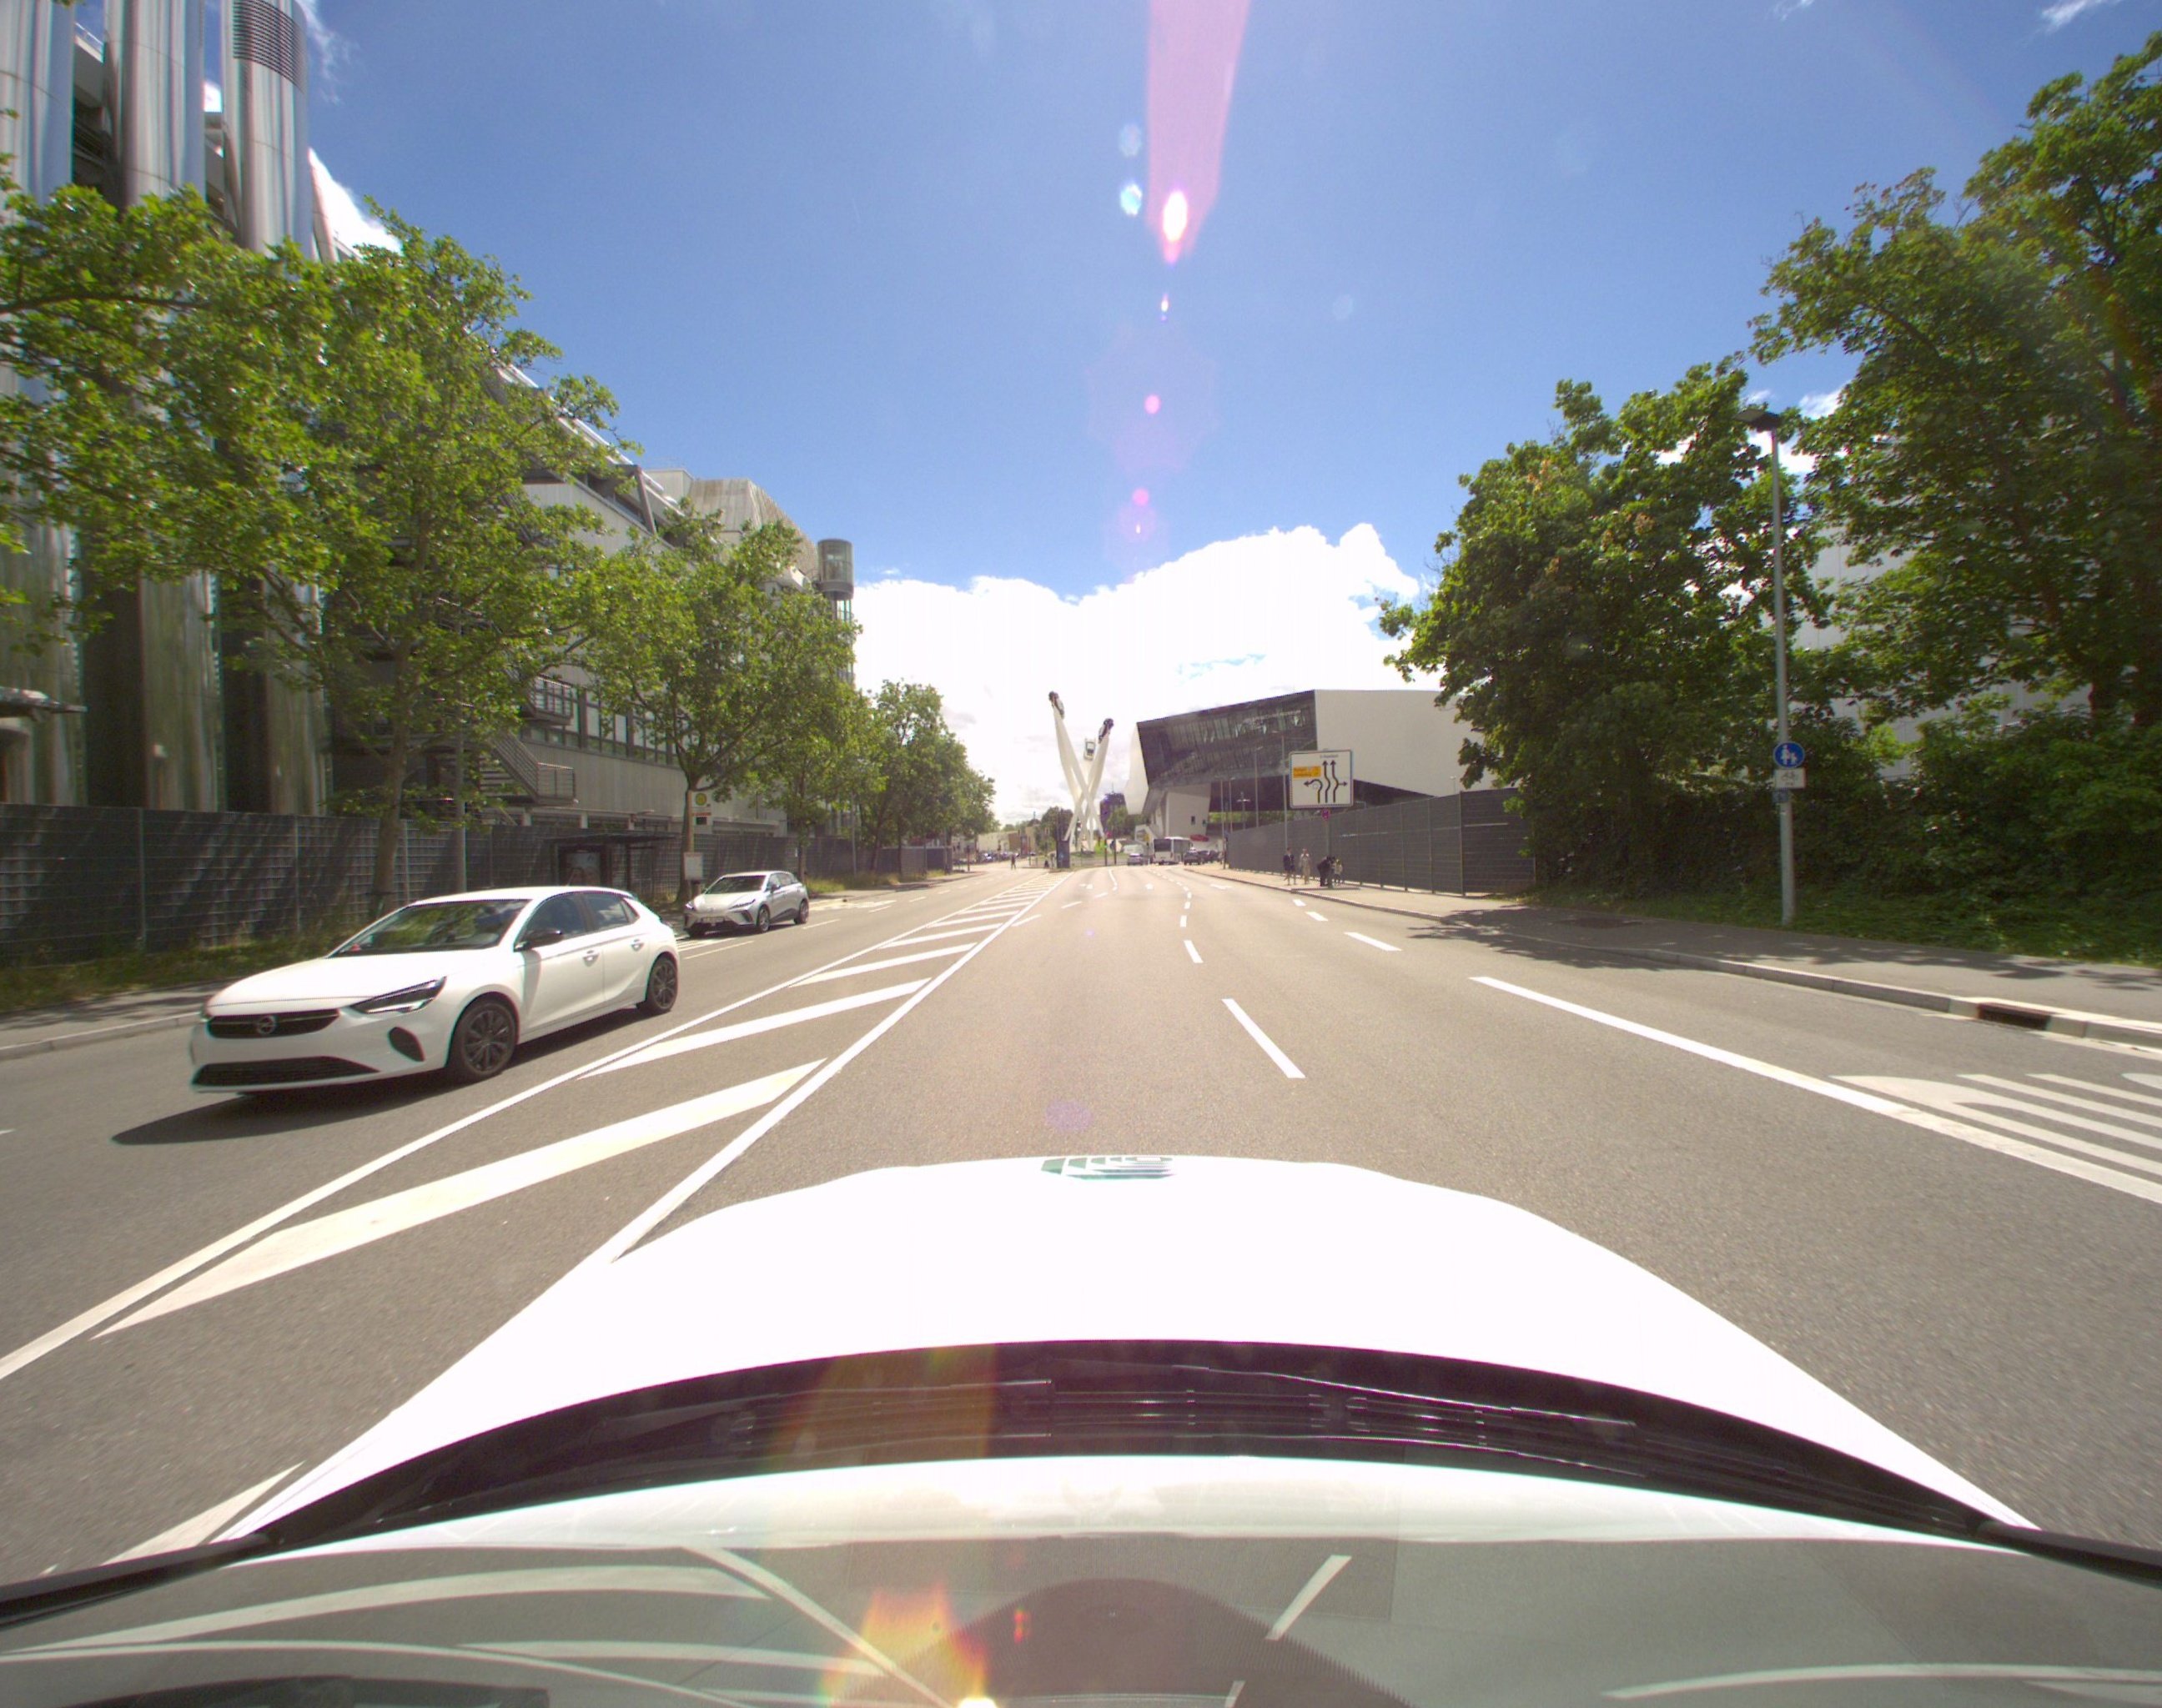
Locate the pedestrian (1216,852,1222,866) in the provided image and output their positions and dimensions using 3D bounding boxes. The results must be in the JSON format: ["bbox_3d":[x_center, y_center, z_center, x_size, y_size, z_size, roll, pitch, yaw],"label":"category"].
[{"bbox_3d":[15.955,0.571,93.936,0.655,1.608,0.825,-1,-1,12],"label":"pedestrian"}]

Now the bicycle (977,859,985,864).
[{"bbox_3d":[-19.519,1.449,158.365,1.590,0.866,0.496,-1,-1,35],"label":"bicycle"}]

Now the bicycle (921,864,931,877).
[{"bbox_3d":[-12.741,1.354,67.023,0.294,1.006,1.256,-1,-1,12],"label":"bicycle"}]

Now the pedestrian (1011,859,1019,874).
[{"bbox_3d":[-7.833,1.436,96.631,0.864,1.774,1.031,0,-1,-12],"label":"pedestrian"}]

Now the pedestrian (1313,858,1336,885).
[{"bbox_3d":[10.415,0.741,34.899,0.754,1.149,0.973,0,-1,4],"label":"pedestrian"}]

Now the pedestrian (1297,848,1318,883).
[{"bbox_3d":[10.472,0.527,37.664,0.792,1.597,0.732,0,-1,1],"label":"pedestrian"}]

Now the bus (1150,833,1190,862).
[{"bbox_3d":[11.253,-0.666,101.778,3.049,3.362,12.272,-1,-1,15],"label":"bus"}]

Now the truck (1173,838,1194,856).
[{"bbox_3d":[15.340,-0.983,121.253,2.190,2.516,5.156,-1,-1,17],"label":"truck"}]

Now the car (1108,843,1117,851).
[{"bbox_3d":[7.383,-1.644,191.624,1.985,1.635,4.660,0,1,3],"label":"car"}]

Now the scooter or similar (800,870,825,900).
[{"bbox_3d":[-12.090,1.385,36.699,0.520,1.234,1.320,2,0,8],"label":"scooter or similar"}]

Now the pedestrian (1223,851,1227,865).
[{"bbox_3d":[17.062,0.439,96.527,0.462,1.616,0.664,0,-1,4],"label":"pedestrian"}]

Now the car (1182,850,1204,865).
[{"bbox_3d":[13.056,0.348,94.725,1.979,1.636,4.016,-1,1,14],"label":"car"}]

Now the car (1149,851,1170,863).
[{"bbox_3d":[10.729,0.380,111.278,1.977,1.637,4.020,-1,-1,20],"label":"car"}]

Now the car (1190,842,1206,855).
[{"bbox_3d":[18.090,-0.876,125.513,1.979,1.933,4.256,-1,-1,14],"label":"car"}]

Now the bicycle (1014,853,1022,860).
[{"bbox_3d":[-12.860,0.546,166.131,1.600,1.382,0.493,0,-1,0],"label":"bicycle"}]

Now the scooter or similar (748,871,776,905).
[{"bbox_3d":[-12.353,1.318,31.586,0.521,1.234,1.318,2,0,1],"label":"scooter or similar"}]

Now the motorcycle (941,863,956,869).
[{"bbox_3d":[-26.500,2.351,163.371,2.879,1.196,0.925,-1,-1,19],"label":"motorcycle"}]

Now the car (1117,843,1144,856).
[{"bbox_3d":[8.533,-0.711,140.149,2.010,2.171,4.601,0,-1,-40],"label":"car"}]

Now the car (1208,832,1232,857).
[{"bbox_3d":[20.739,-1.335,121.542,3.315,3.504,9.366,-1,-1,10],"label":"car"}]

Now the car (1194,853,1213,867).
[{"bbox_3d":[15.190,0.721,100.910,1.979,1.637,4.015,-1,-1,14],"label":"car"}]

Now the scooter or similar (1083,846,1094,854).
[{"bbox_3d":[1.063,-0.552,114.571,1.394,1.025,0.551,-3,5,4],"label":"scooter or similar"}]

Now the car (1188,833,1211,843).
[{"bbox_3d":[24.482,-3.296,168.134,2.012,1.394,4.460,-6,10,-42],"label":"car"}]

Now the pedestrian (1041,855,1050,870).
[{"bbox_3d":[-4.083,0.991,93.136,0.864,1.774,1.031,0,-1,-12],"label":"pedestrian"}]

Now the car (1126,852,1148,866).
[{"bbox_3d":[6.761,0.645,97.905,1.979,1.637,4.015,-1,-1,14],"label":"car"}]

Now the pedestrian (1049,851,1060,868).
[{"bbox_3d":[-3.120,0.647,95.177,0.944,2.055,0.956,-1,-1,20],"label":"pedestrian"}]

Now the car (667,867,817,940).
[{"bbox_3d":[-8.515,1.183,20.931,1.871,1.505,4.193,-3,0,2],"label":"car"}]

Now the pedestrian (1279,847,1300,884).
[{"bbox_3d":[9.619,0.530,37.542,0.792,1.721,0.732,0,-1,1],"label":"pedestrian"}]

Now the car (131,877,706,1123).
[{"bbox_3d":[-5.292,1.012,7.401,1.685,1.415,4.146,-3,0,1],"label":"car"}]

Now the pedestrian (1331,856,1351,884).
[{"bbox_3d":[11.200,0.700,35.070,0.711,1.207,0.599,0,-1,5],"label":"pedestrian"}]

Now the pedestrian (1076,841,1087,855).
[{"bbox_3d":[0.081,-0.831,114.339,1.277,1.816,0.987,-5,3,0],"label":"pedestrian"}]

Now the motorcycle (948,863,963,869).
[{"bbox_3d":[-25.509,2.377,165.739,2.879,1.196,0.925,-1,-1,19],"label":"motorcycle"}]

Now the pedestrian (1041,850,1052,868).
[{"bbox_3d":[-4.077,0.603,95.948,0.944,2.055,0.956,-1,-1,20],"label":"pedestrian"}]

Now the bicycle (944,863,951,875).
[{"bbox_3d":[-12.009,1.339,73.446,0.295,1.131,1.486,0,-1,5],"label":"bicycle"}]
